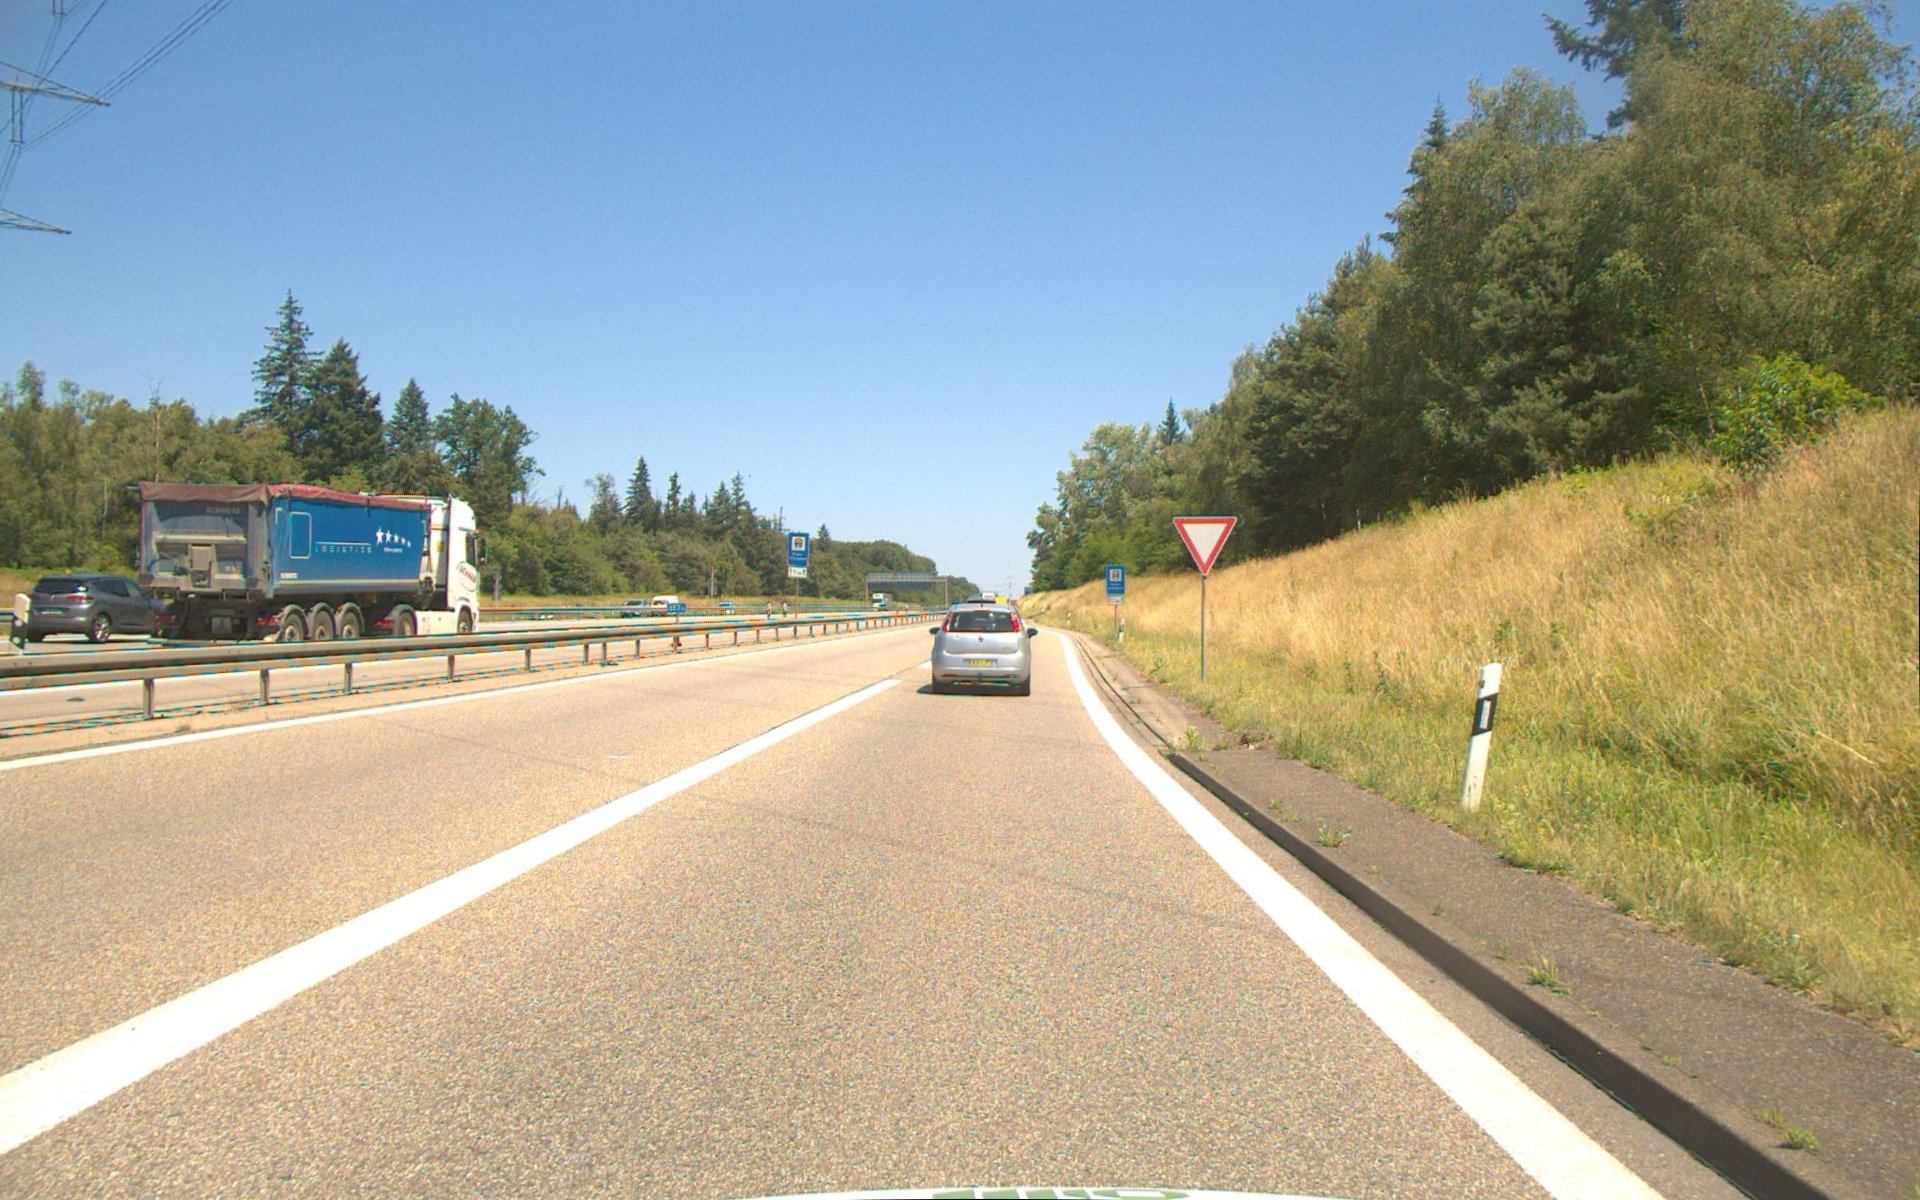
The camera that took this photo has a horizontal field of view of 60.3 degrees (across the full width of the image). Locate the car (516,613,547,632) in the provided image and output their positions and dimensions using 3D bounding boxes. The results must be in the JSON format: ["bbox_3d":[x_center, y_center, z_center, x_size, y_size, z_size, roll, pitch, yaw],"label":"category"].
[{"bbox_3d":[-42.424,2.253,163.893,1.953,1.814,3.999,1,-1,0],"label":"car"}]

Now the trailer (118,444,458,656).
[{"bbox_3d":[-13.814,-0.899,35.236,2.713,3.874,9.888,1,0,3],"label":"trailer"}]

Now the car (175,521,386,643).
[{"bbox_3d":[-17.496,-0.332,43.112,2.192,2.882,7.056,1,-2,3],"label":"car"}]

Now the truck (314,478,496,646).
[{"bbox_3d":[-13.541,-0.889,40.710,2.699,3.874,4.623,1,0,3],"label":"truck"}]

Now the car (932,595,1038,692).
[{"bbox_3d":[0.435,0.695,28.167,1.671,1.507,3.398,1,0,1],"label":"car"}]

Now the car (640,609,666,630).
[{"bbox_3d":[-37.822,2.406,204.009,1.953,2.588,6.912,0,-1,0],"label":"car"}]

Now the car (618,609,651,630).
[{"bbox_3d":[-28.299,1.725,143.721,1.952,1.814,4.000,1,-1,1],"label":"car"}]

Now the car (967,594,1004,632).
[{"bbox_3d":[1.154,0.621,76.718,1.671,1.706,3.397,1,-2,0],"label":"car"}]

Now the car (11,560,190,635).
[{"bbox_3d":[-21.354,-0.009,41.347,1.735,1.713,4.826,1,-2,3],"label":"car"}]
